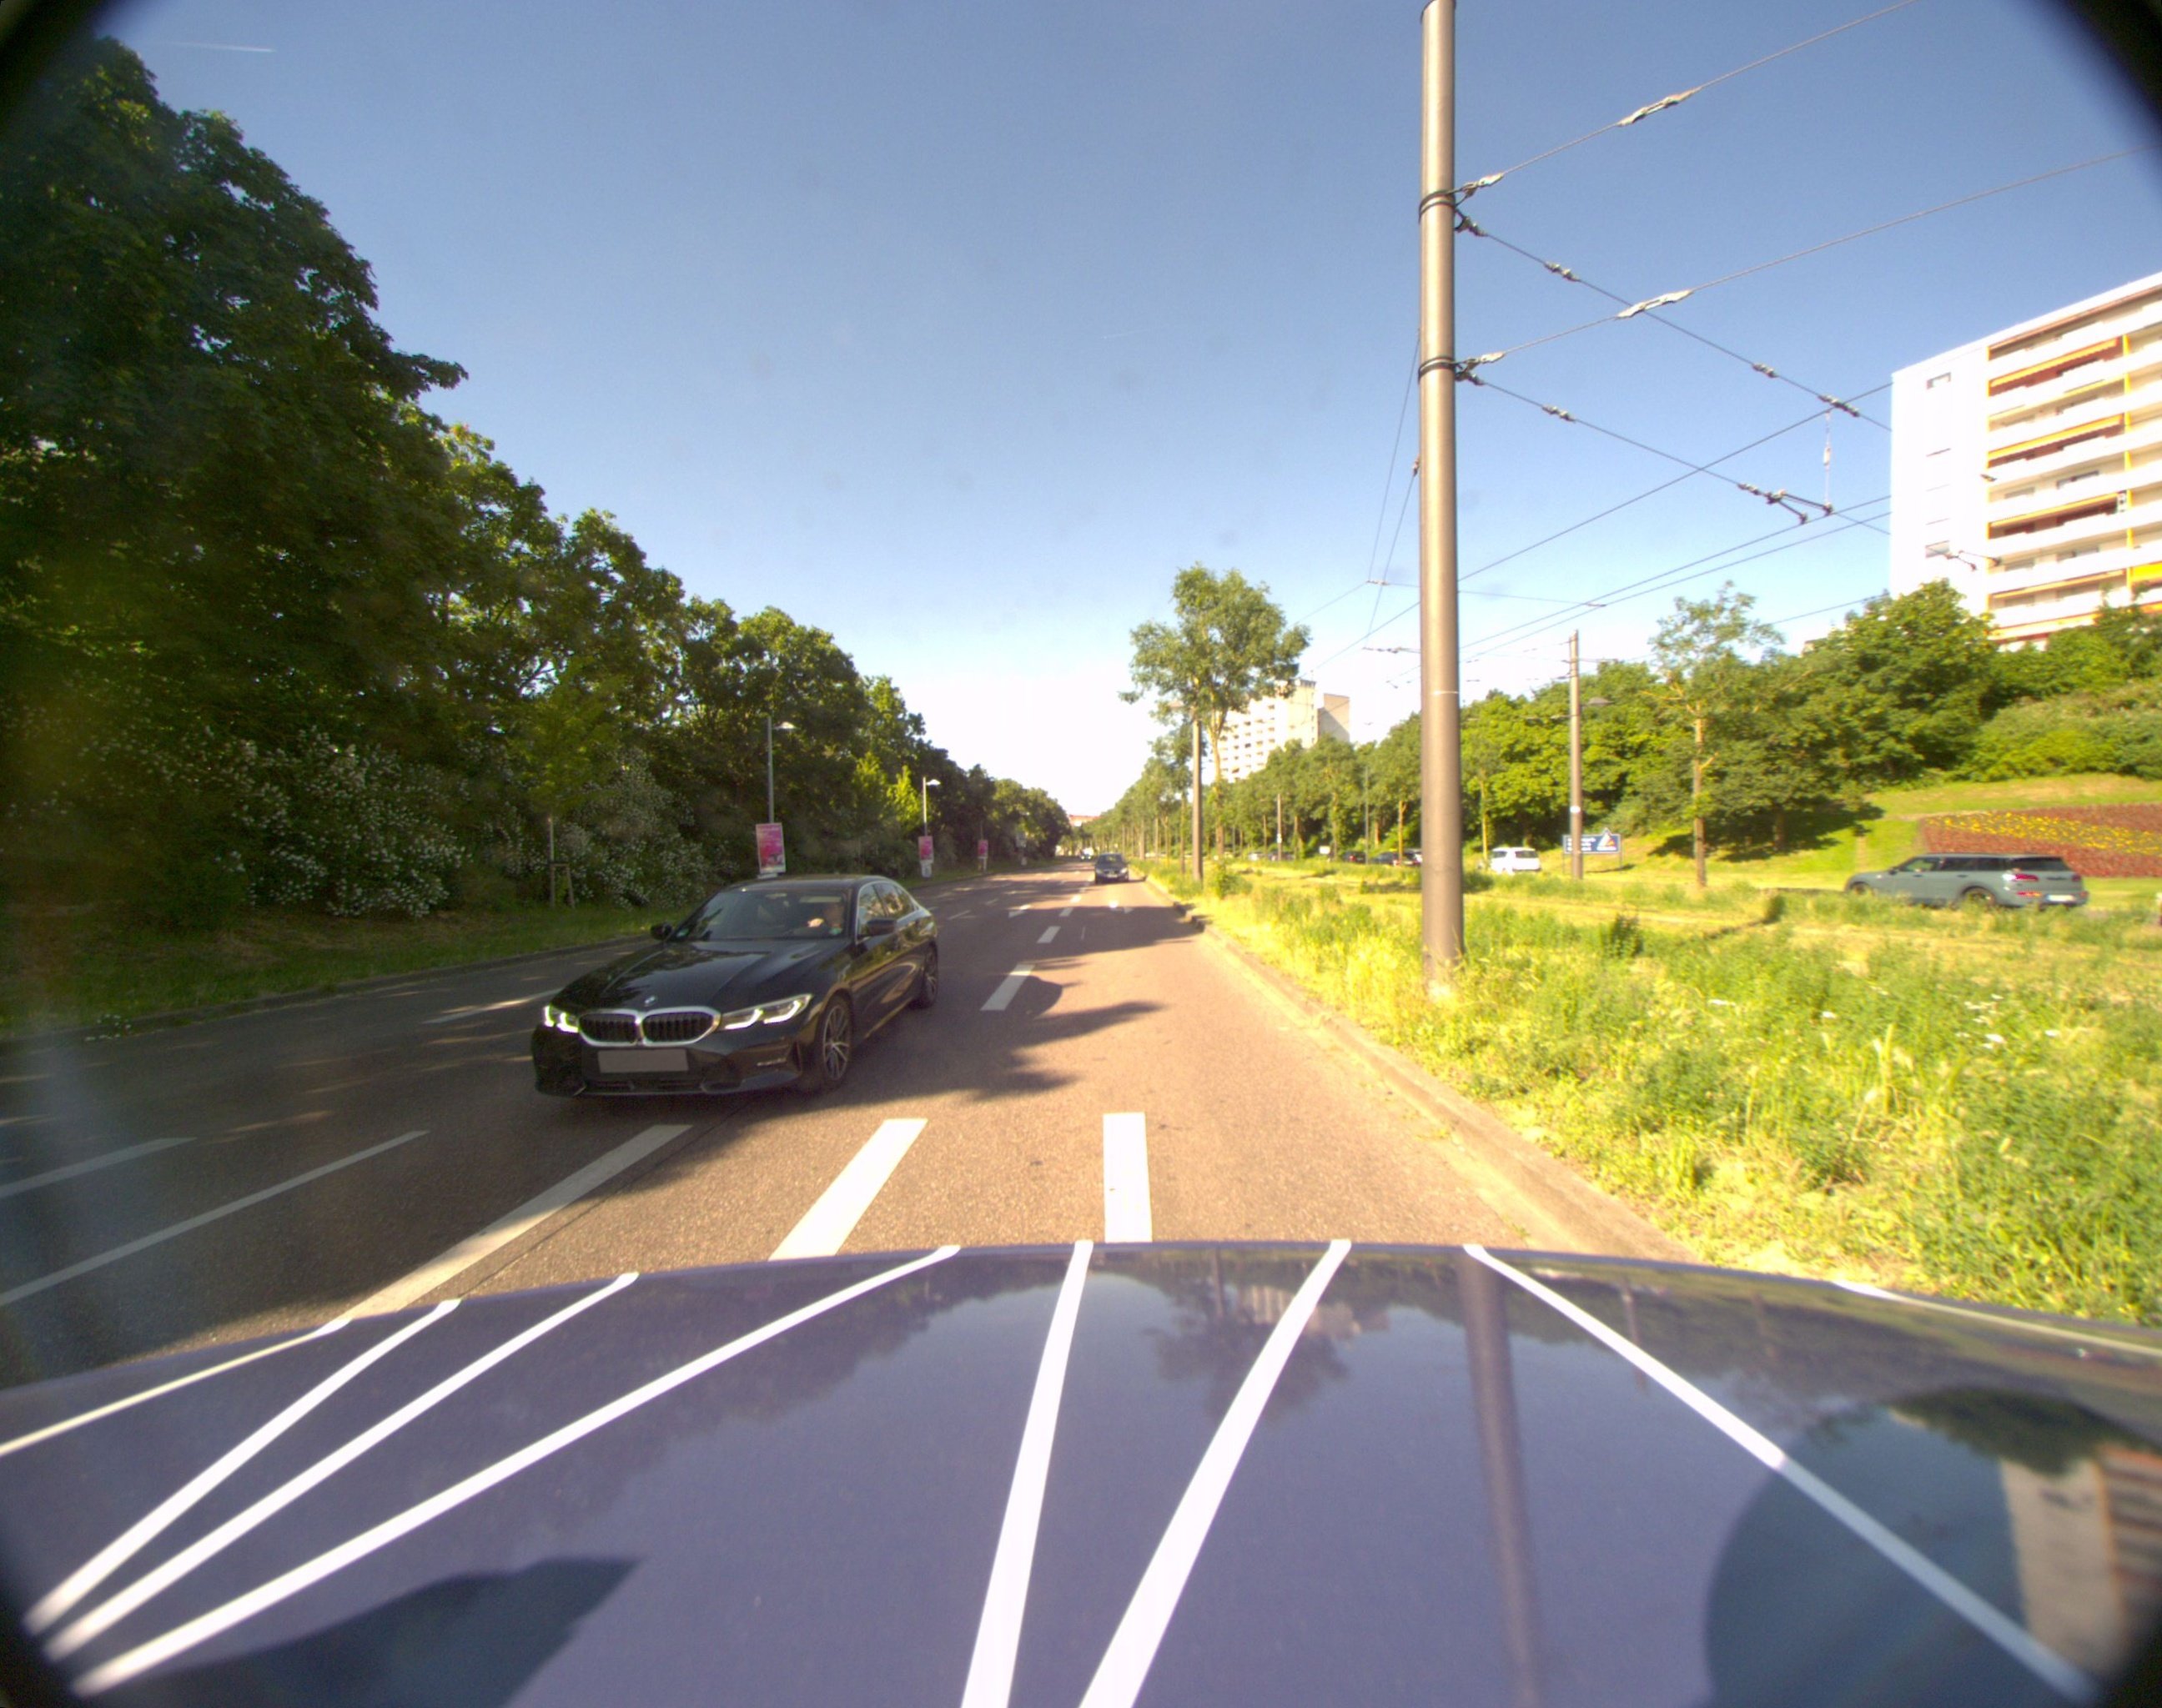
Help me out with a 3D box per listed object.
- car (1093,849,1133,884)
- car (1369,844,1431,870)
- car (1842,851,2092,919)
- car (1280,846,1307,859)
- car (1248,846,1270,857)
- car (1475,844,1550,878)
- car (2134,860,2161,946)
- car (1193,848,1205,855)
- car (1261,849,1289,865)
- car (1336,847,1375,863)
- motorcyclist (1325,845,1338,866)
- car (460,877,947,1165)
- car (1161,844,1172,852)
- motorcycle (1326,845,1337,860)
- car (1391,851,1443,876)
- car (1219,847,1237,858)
[{"bbox_3d":[1.649,0.599,40.440,1.998,1.696,3.999,-2,1,1],"label":"car"},{"bbox_3d":[19.503,0.137,46.645,1.880,1.477,4.604,-2,1,1],"label":"car"},{"bbox_3d":[21.334,0.671,18.585,1.433,1.380,4.140,-2,1,3],"label":"car"},{"bbox_3d":[23.532,-0.192,84.269,1.998,1.366,4.400,-2,1,3],"label":"car"},{"bbox_3d":[23.304,-0.303,99.547,1.998,1.424,4.693,0,1,2],"label":"car"},{"bbox_3d":[22.651,0.333,40.084,1.805,1.698,4.060,0,1,2],"label":"car"},{"bbox_3d":[18.003,0.791,10.322,1.552,1.369,4.262,-1,0,2],"label":"car"},{"bbox_3d":[21.125,-0.484,136.603,1.661,1.290,4.178,-1,0,3],"label":"car"},{"bbox_3d":[19.589,0.293,76.862,1.998,1.585,4.465,0,1,4],"label":"car"},{"bbox_3d":[22.874,0.069,63.370,1.866,1.334,4.031,0,1,1],"label":"car"},{"bbox_3d":[19.476,0.120,59.140,0.836,1.590,0.640,-2,1,9],"label":"motorcyclist"},{"bbox_3d":[-2.506,1.015,6.394,1.831,1.401,4.216,-2,1,2],"label":"car"},{"bbox_3d":[17.384,-1.152,154.652,1.767,1.599,3.758,0,1,2],"label":"car"},{"bbox_3d":[19.510,-0.150,59.202,0.422,1.125,2.096,-2,1,9],"label":"motorcycle"},{"bbox_3d":[22.706,0.618,51.566,1.842,1.592,4.438,-1,1,4],"label":"car"},{"bbox_3d":[19.801,-0.198,102.578,1.707,1.414,4.643,-1,0,2],"label":"car"}]
